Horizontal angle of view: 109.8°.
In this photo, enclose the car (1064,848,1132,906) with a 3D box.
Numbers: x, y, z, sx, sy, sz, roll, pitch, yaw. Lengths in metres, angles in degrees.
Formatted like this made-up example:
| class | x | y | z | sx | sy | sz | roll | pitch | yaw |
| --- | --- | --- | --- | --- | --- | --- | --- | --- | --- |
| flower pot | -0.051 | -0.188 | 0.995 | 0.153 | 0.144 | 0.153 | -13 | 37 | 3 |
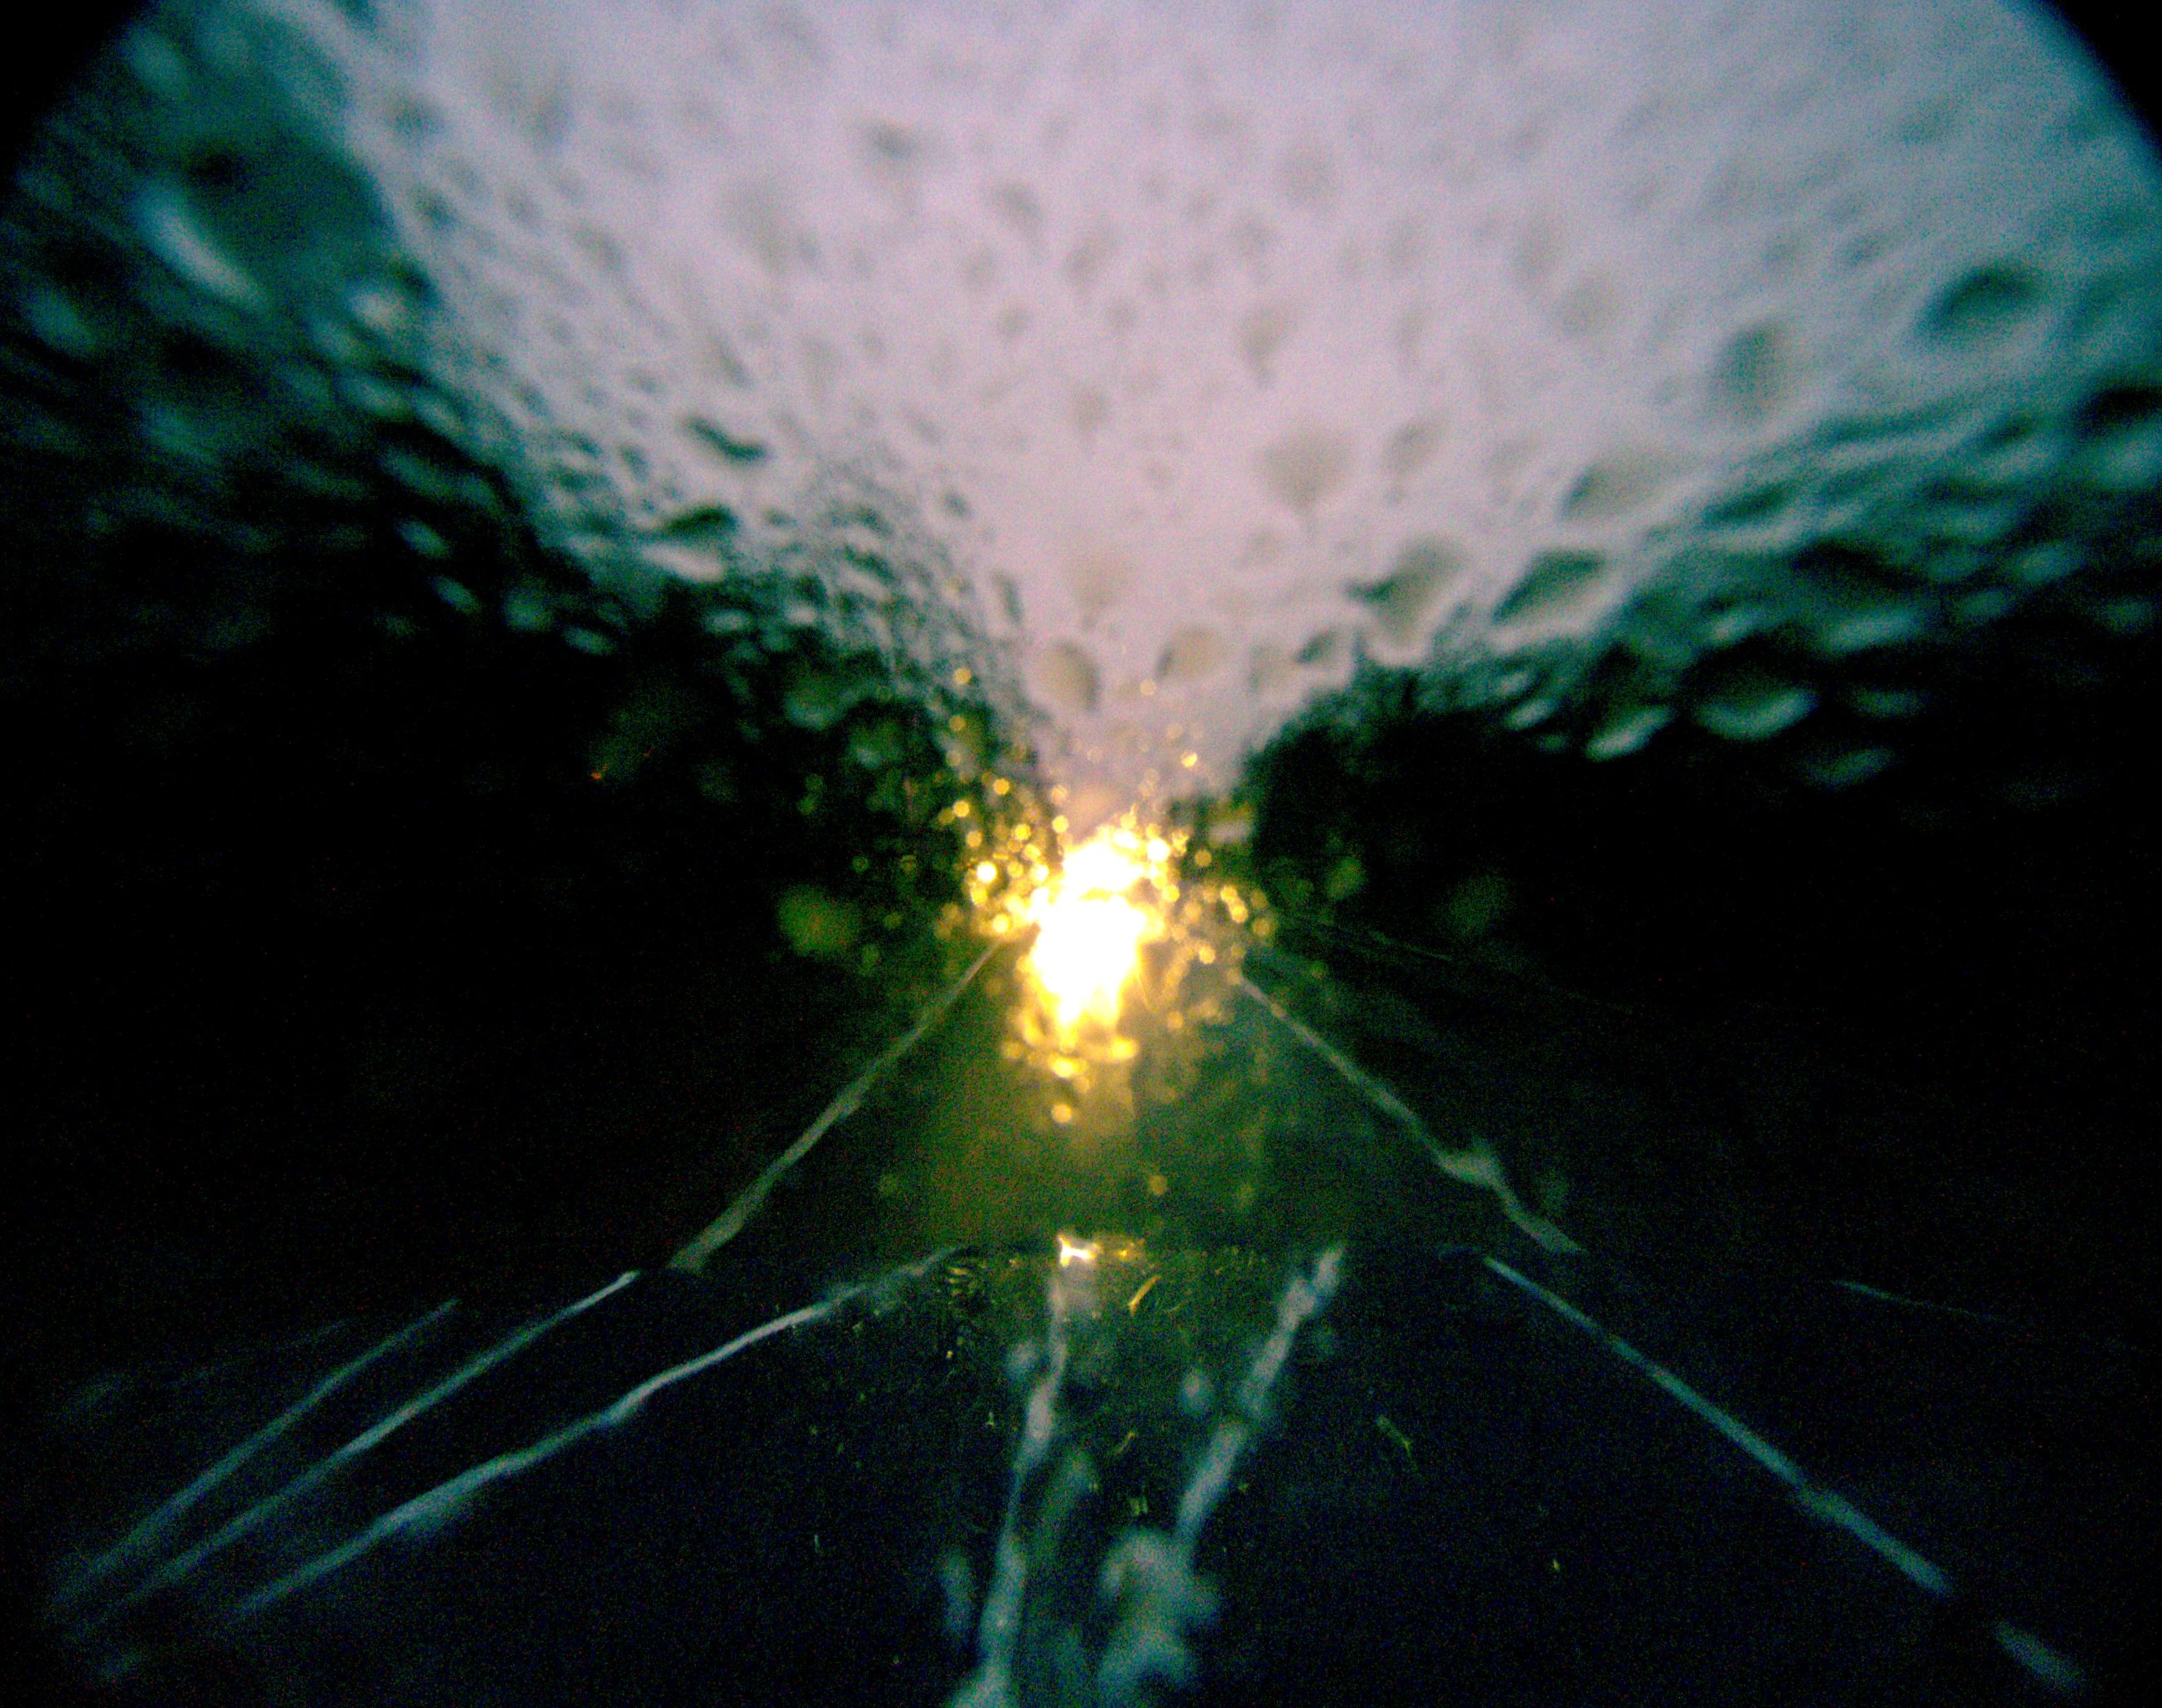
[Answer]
| class | x | y | z | sx | sy | sz | roll | pitch | yaw |
| --- | --- | --- | --- | --- | --- | --- | --- | --- | --- |
| car | 0.532 | 0.712 | 25.132 | 1.998 | 1.672 | 4.000 | -2 | 0 | 0 |
